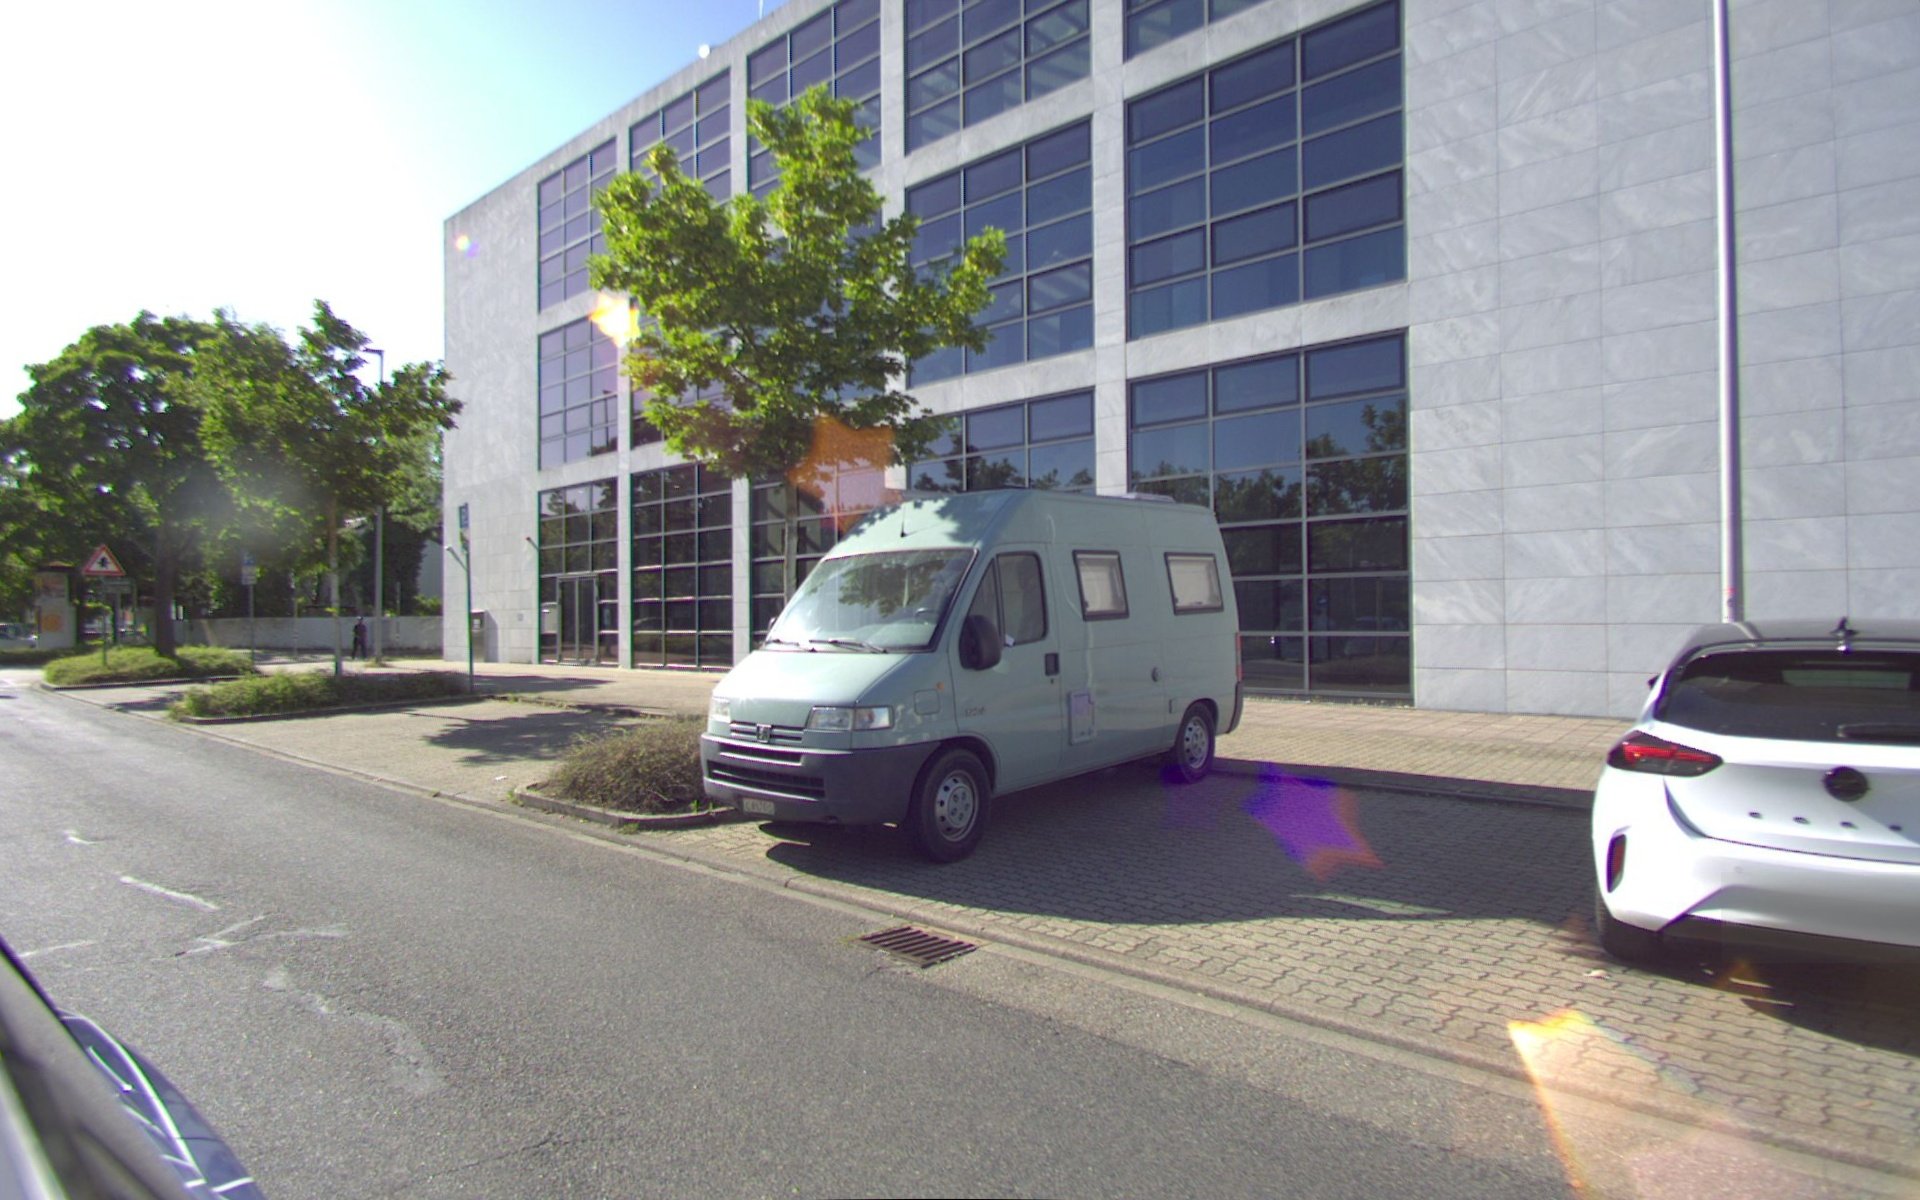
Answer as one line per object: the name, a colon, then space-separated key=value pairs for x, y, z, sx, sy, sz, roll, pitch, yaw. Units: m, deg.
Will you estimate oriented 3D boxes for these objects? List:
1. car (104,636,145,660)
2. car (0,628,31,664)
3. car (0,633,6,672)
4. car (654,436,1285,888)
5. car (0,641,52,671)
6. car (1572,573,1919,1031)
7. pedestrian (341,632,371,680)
car: x=-57.904 y=3.287 z=70.118 sx=4.146 sy=1.626 sz=1.809 roll=-2 pitch=-3 yaw=45
car: x=-54.345 y=2.578 z=55.680 sx=1.998 sy=2.006 sz=4.574 roll=-3 pitch=-3 yaw=39
car: x=-62.409 y=3.308 z=62.336 sx=1.998 sy=2.397 sz=5.067 roll=-3 pitch=-3 yaw=39
car: x=0.462 y=0.282 z=8.116 sx=2.122 sy=2.436 sz=5.193 roll=-2 pitch=0 yaw=41
car: x=-48.622 y=2.869 z=50.575 sx=1.828 sy=1.416 sz=4.623 roll=-2 pitch=0 yaw=42
car: x=4.343 y=0.629 z=4.784 sx=1.847 sy=1.483 sz=3.791 roll=-2 pitch=0 yaw=41
pedestrian: x=-21.667 y=1.995 z=36.287 sx=0.825 sy=1.697 sz=0.809 roll=1 pitch=-3 yaw=-36
